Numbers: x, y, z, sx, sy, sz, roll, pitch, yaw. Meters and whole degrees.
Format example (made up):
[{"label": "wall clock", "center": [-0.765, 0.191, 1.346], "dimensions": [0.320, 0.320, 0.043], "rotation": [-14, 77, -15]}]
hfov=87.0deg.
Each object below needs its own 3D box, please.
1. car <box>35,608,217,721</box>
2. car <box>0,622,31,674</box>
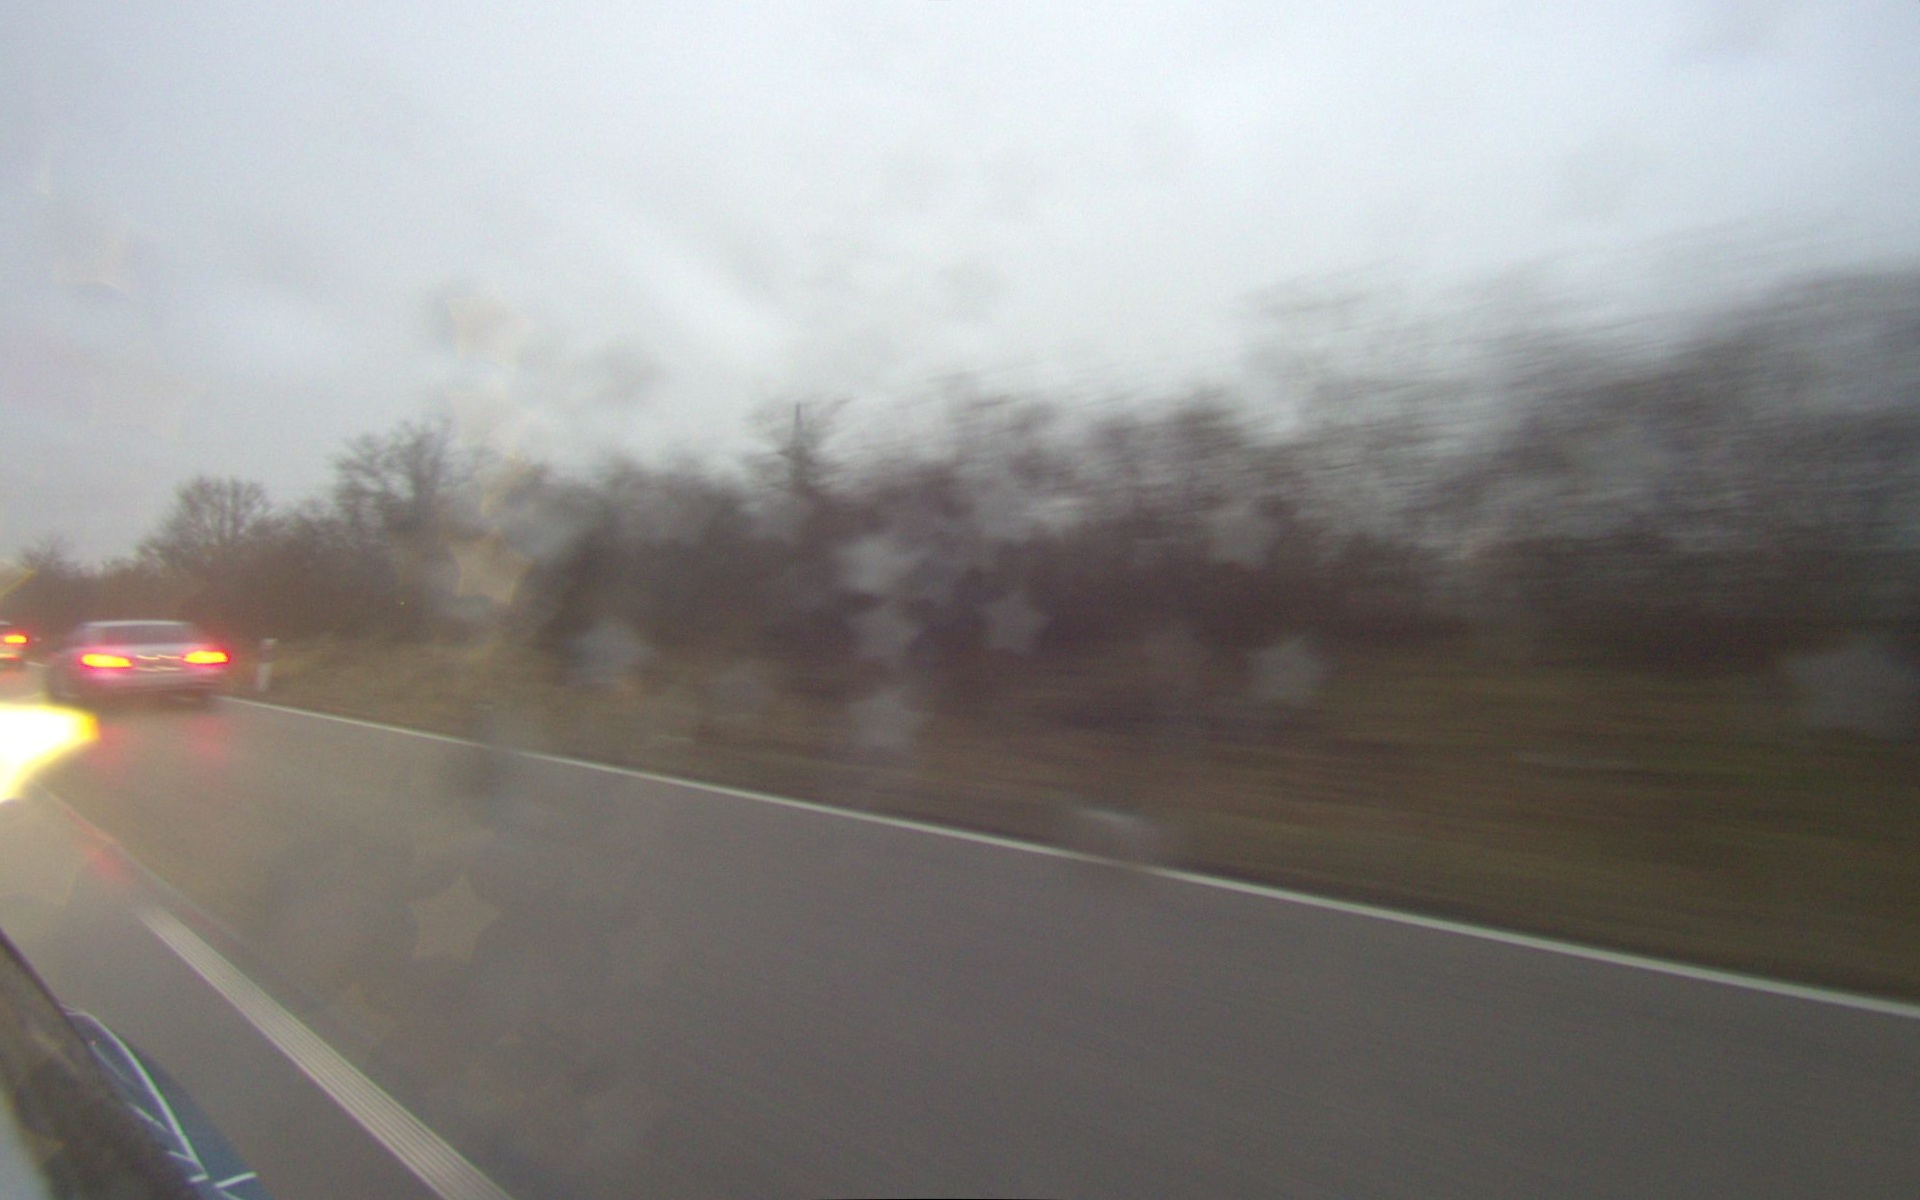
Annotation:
[{"label": "car", "center": [-14.365, 1.006, 17.332], "dimensions": [4.684, 1.653, 1.740], "rotation": [-1, 0, 42]}, {"label": "car", "center": [-30.056, 1.456, 31.042], "dimensions": [4.092, 1.510, 1.807], "rotation": [-1, -1, 40]}]
